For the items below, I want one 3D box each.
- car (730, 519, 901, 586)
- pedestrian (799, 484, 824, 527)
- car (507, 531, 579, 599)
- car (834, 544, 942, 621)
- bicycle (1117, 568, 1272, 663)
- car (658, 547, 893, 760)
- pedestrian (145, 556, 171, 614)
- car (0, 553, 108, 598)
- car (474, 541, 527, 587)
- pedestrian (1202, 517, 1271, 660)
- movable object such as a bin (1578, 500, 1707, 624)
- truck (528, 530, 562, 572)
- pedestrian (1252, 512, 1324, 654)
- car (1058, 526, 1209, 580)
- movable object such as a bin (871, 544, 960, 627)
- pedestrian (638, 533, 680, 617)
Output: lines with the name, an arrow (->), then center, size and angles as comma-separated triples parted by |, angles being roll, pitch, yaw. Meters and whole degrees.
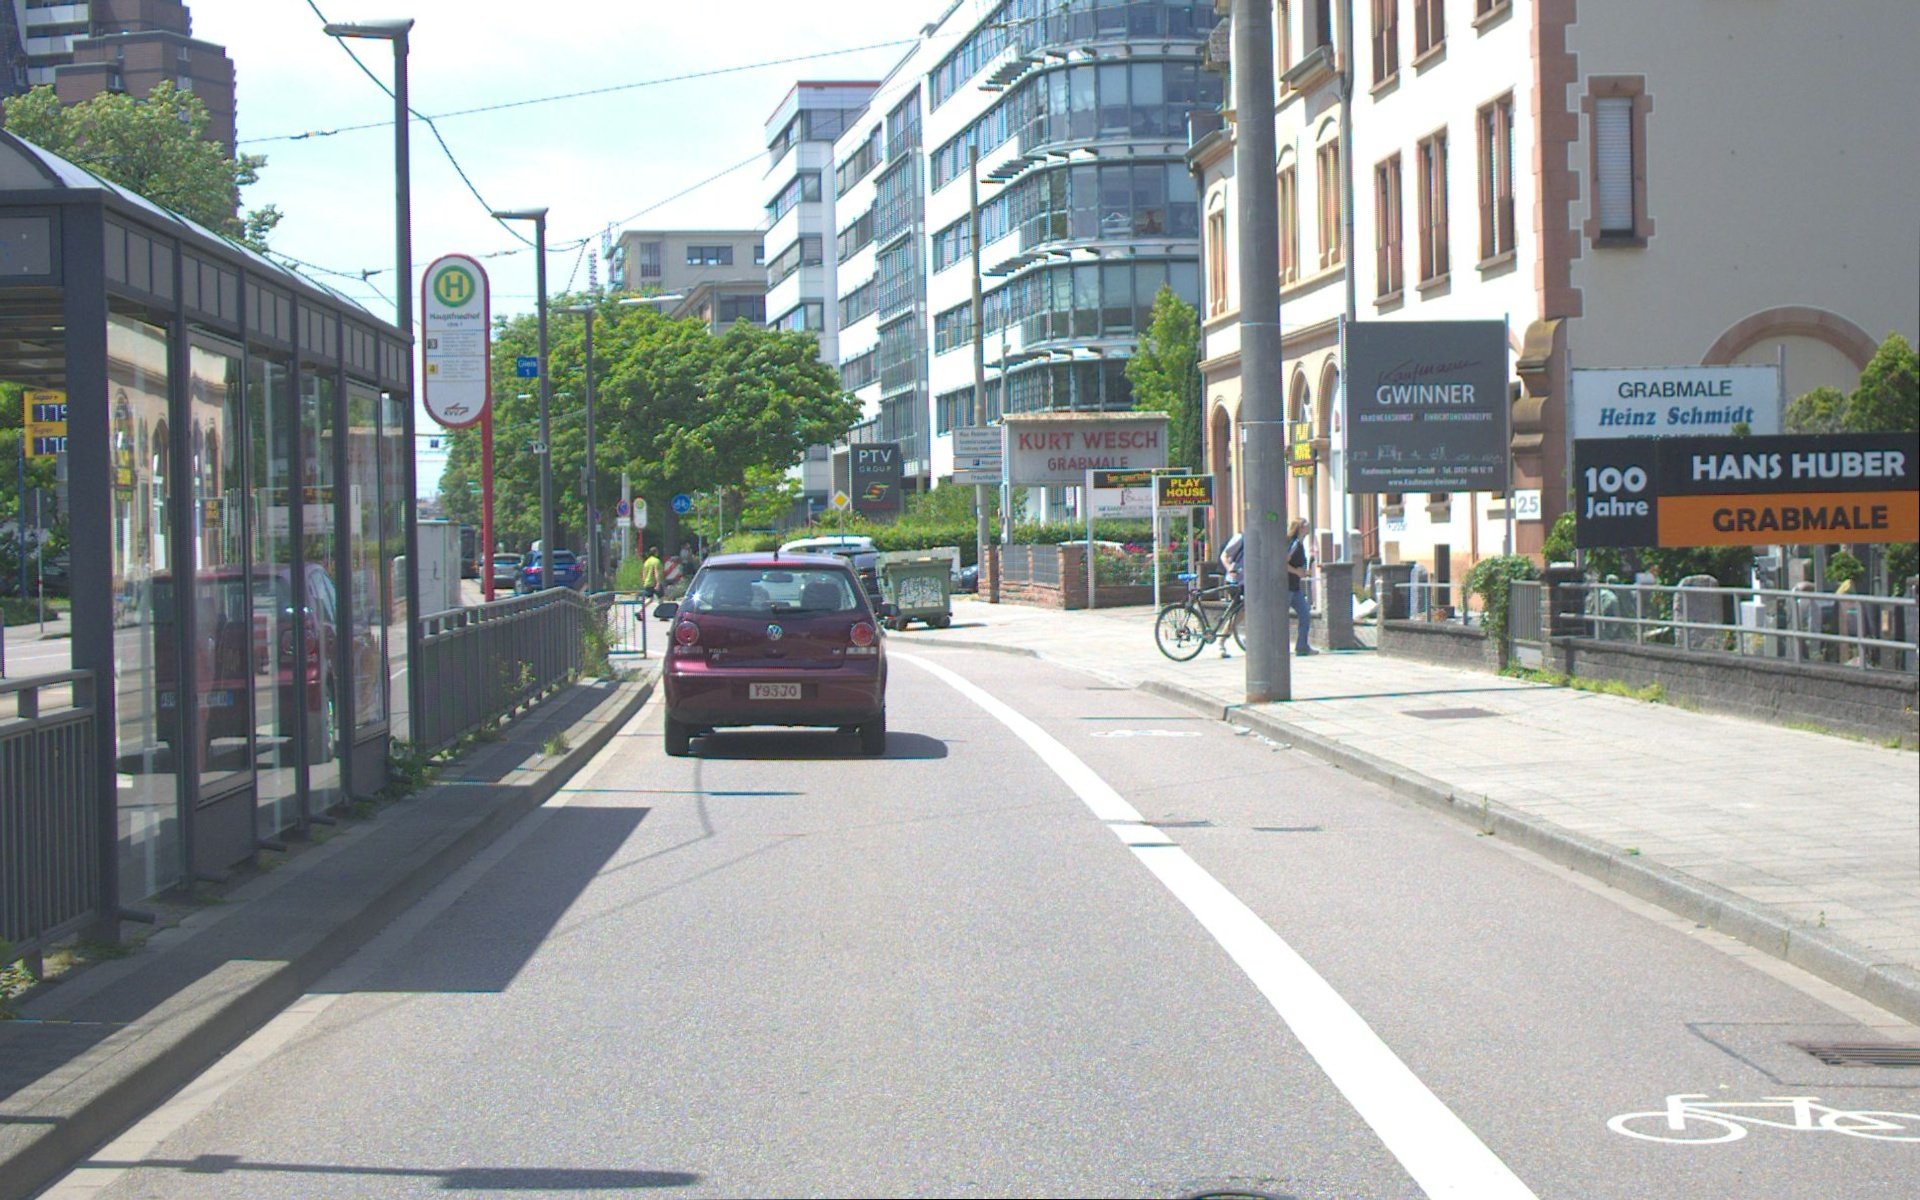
car -> -4.093, -1.351, 96.992 | 4.536, 1.793, 2.001 | -1, 1, -12
pedestrian -> -5.964, -3.790, 138.014 | 0.874, 1.709, 1.089 | -3, 0, 1
car -> -12.631, -1.084, 103.982 | 1.993, 2.007, 4.001 | 0, 1, -9
car -> -1.603, -0.382, 75.122 | 1.772, 1.543, 4.468 | -3, 1, -8
bicycle -> 2.901, 0.195, 42.625 | 1.804, 1.123, 0.589 | -1, 1, 29
car -> -1.338, 0.349, 26.198 | 1.619, 1.481, 4.000 | 0, 1, -1
pedestrian -> -23.683, -0.436, 101.551 | 0.625, 1.685, 0.722 | -1, 1, -5
car -> -30.940, -0.837, 115.409 | 1.932, 1.483, 4.443 | 1, 1, 31
car -> -18.035, -1.437, 134.809 | 1.993, 1.733, 4.001 | -2, 1, -8
pedestrian -> 3.443, -0.144, 42.807 | 0.688, 1.766, 0.502 | -1, 1, 26
movable object such as a bin -> 8.641, -0.490, 43.582 | 1.329, 1.494, 1.046 | -3, 1, -3
truck -> -26.493, -3.126, 219.585 | 1.993, 2.653, 4.876 | 0, 1, -9
pedestrian -> 3.951, -0.204, 41.422 | 0.824, 1.685, 0.589 | -1, 1, 7
car -> 5.013, -1.376, 99.596 | 4.148, 1.454, 1.818 | -1, 1, -5
movable object such as a bin -> -0.827, -0.269, 63.741 | 1.391, 1.450, 1.139 | -3, 1, -12
pedestrian -> -7.072, -0.594, 80.757 | 0.780, 1.953, 0.590 | -2, 1, -23
